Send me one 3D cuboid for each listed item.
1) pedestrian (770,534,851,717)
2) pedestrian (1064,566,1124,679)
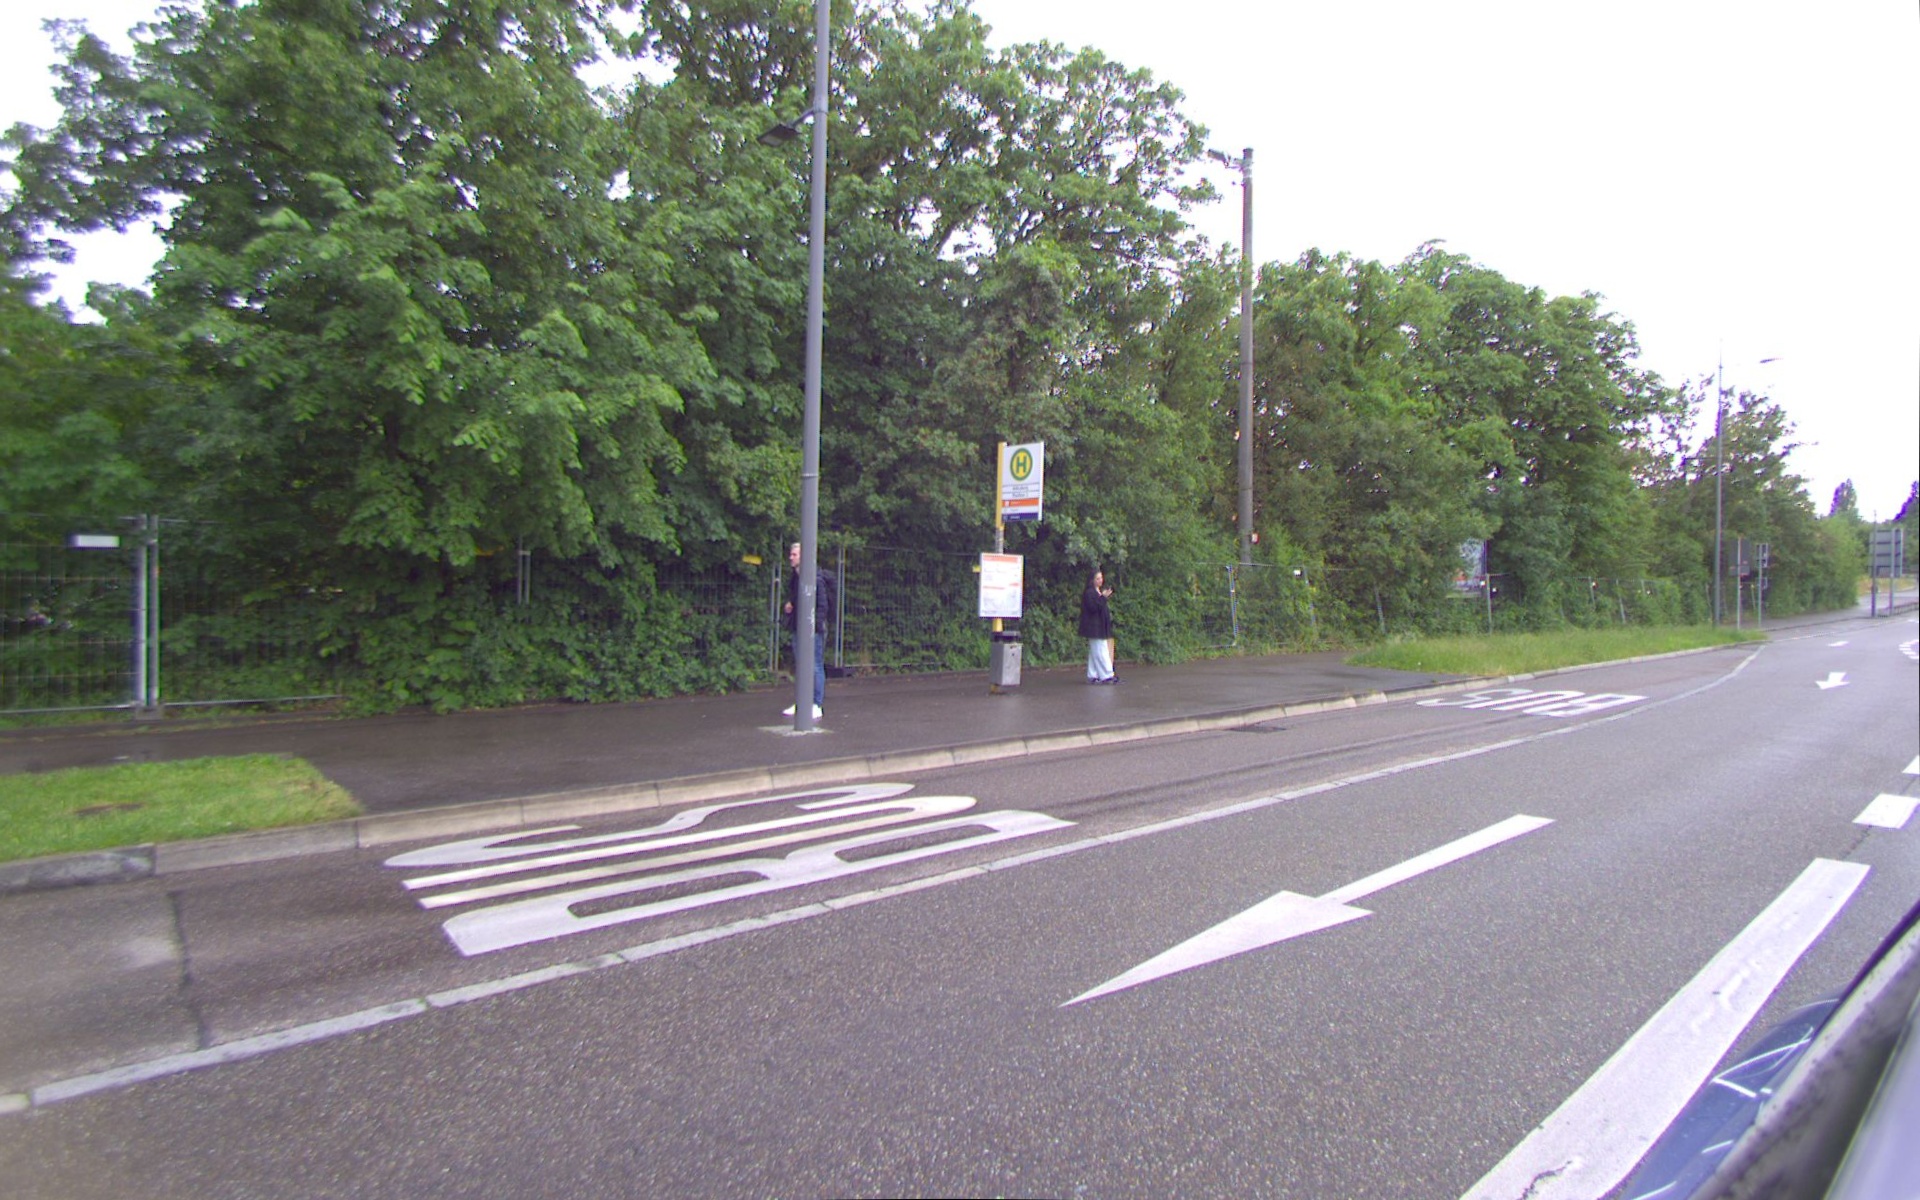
[{"bbox_3d":[-1.680,0.265,11.352,0.587,1.973,0.742,0,1,-40],"label":"pedestrian"},{"bbox_3d":[2.012,0.324,15.228,0.650,1.648,0.588,0,1,-40],"label":"pedestrian"}]
